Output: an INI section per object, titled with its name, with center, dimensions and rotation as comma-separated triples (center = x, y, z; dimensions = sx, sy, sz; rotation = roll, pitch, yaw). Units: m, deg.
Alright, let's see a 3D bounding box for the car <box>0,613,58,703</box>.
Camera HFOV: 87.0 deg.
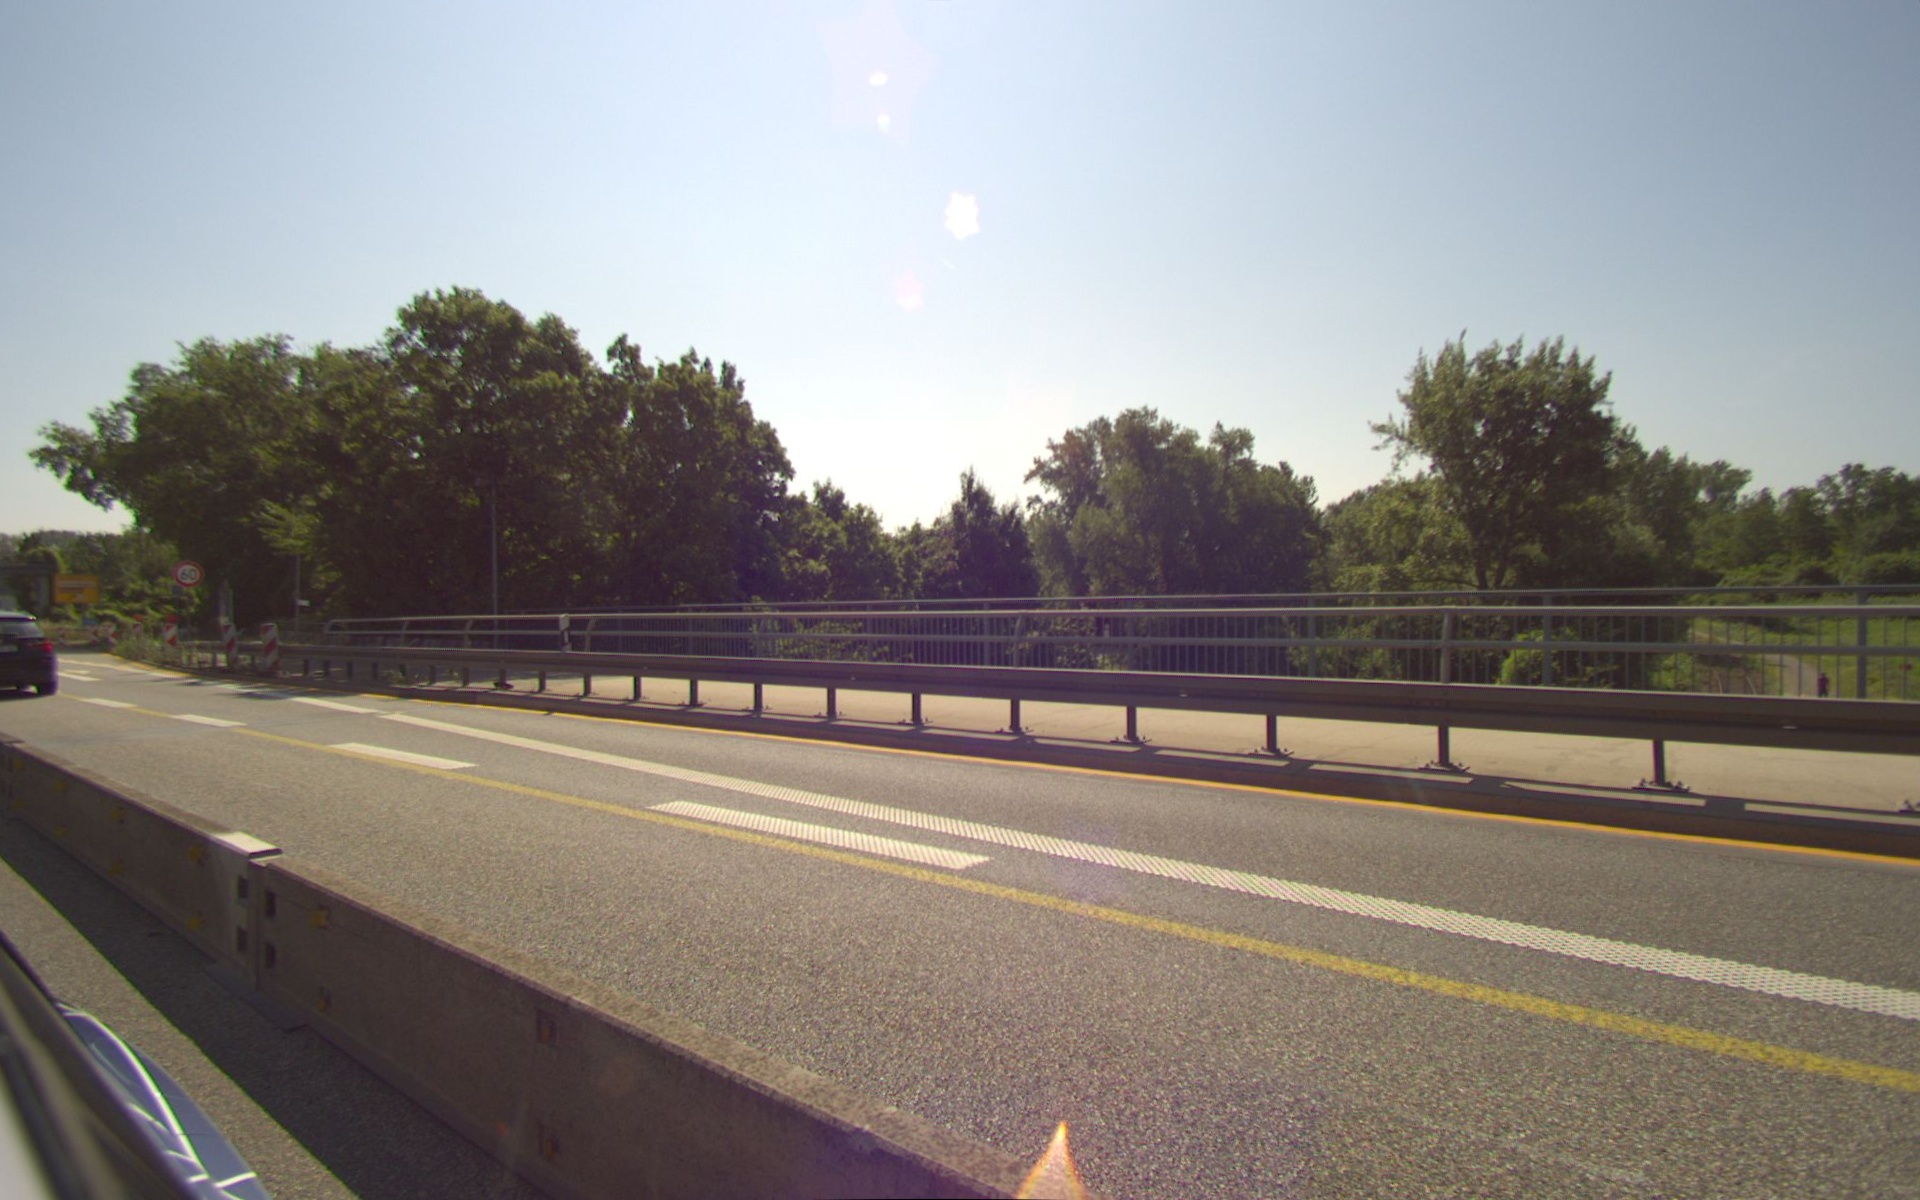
[car]
center = -19.558, 1.130, 20.117
dimensions = 4.563, 1.644, 1.844
rotation = -2, -1, 41
